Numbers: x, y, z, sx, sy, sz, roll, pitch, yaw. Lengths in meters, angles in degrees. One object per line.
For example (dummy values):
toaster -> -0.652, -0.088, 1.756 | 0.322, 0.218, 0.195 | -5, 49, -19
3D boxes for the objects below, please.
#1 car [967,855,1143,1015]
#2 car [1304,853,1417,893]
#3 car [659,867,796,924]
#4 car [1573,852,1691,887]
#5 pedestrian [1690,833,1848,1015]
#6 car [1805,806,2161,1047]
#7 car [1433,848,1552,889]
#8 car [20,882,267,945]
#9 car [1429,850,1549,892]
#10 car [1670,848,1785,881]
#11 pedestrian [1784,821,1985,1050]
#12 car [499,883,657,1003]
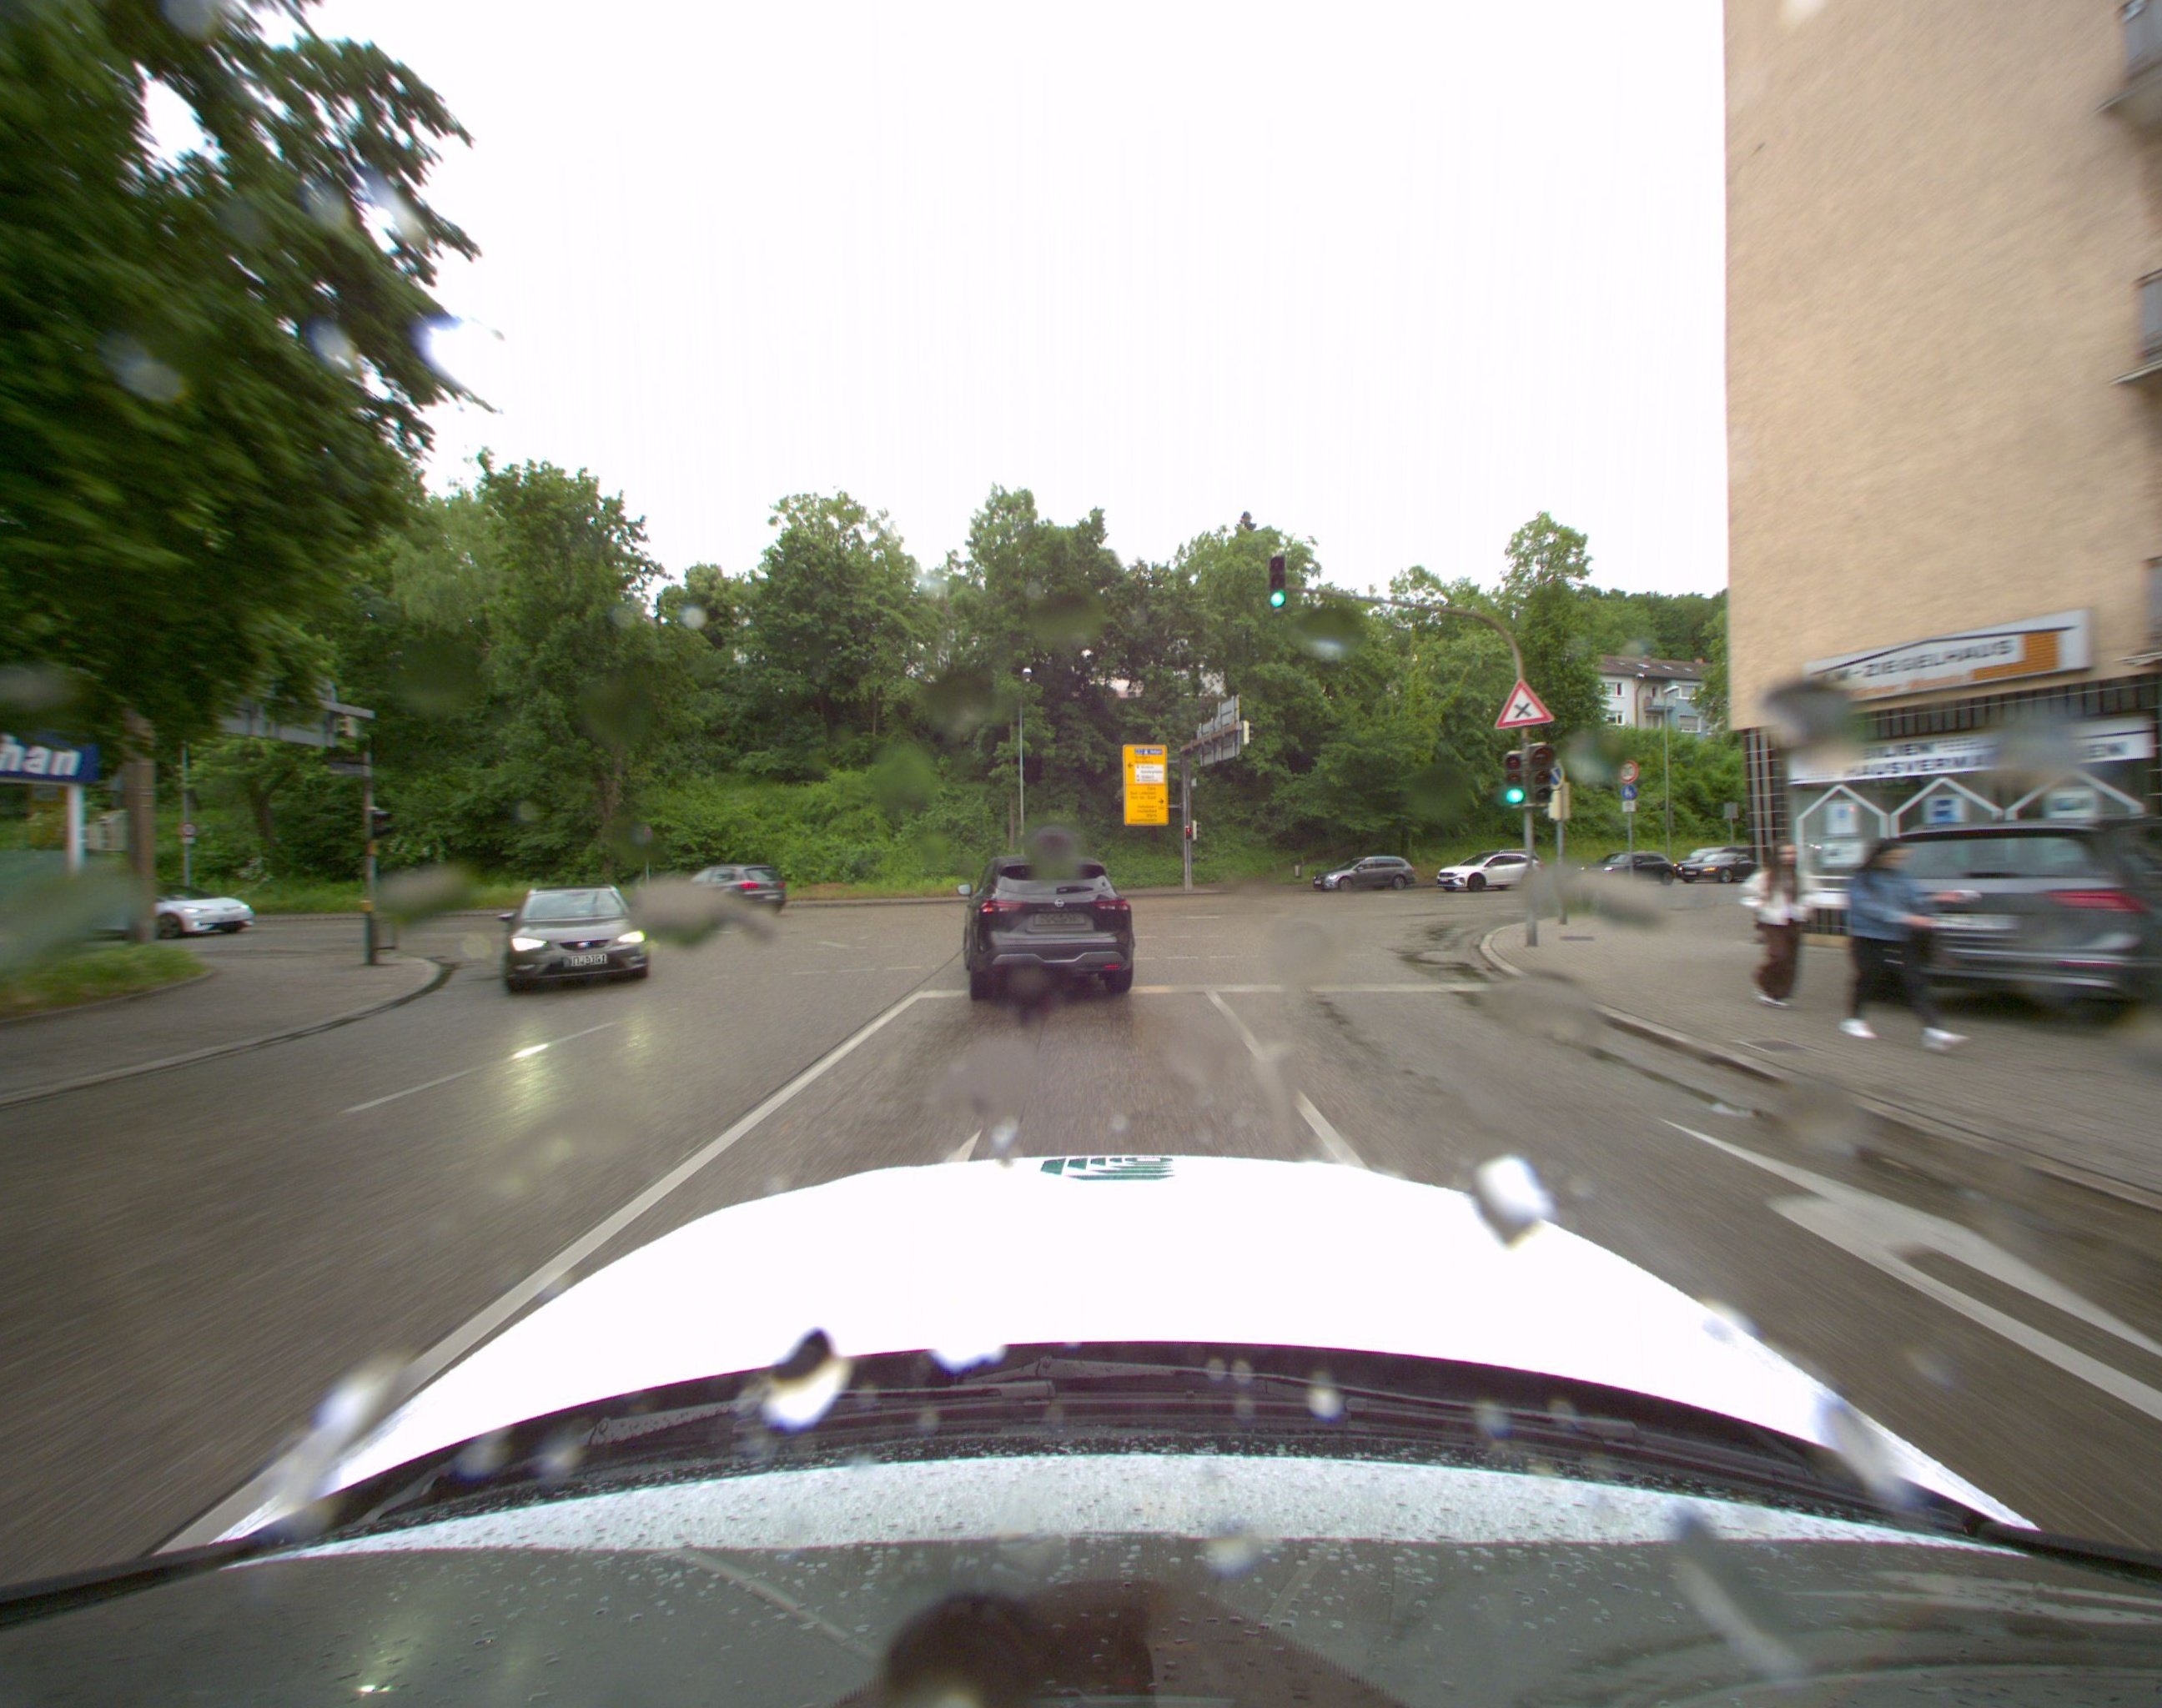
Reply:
car -> -0.534, 0.860, 10.402 | 1.810, 1.603, 3.988 | -1, -1, -8
car -> 12.214, 0.818, 35.711 | 4.326, 1.502, 1.876 | -2, 0, -11
car -> -11.254, 1.256, 25.922 | 3.950, 1.602, 1.828 | 0, 2, 26
car -> 23.303, 0.639, 34.491 | 4.147, 1.370, 1.801 | -1, -1, -14
pedestrian -> 6.345, 0.613, 7.556 | 0.757, 1.575, 0.782 | -3, 0, 5
car -> 8.911, 0.444, 7.400 | 4.388, 1.649, 1.868 | -2, -1, -25
car -> 18.609, 0.634, 36.902 | 4.613, 1.697, 1.820 | -2, -1, -11
car -> -26.700, 1.655, 23.333 | 4.603, 1.440, 1.935 | -2, 2, -2
car -> 16.462, 0.682, 32.894 | 4.147, 1.561, 1.801 | -1, -1, -14
car -> 28.534, 0.454, 35.982 | 4.147, 1.370, 1.801 | -1, -1, -14
pedestrian -> 6.089, 0.580, 6.220 | 0.655, 1.600, 0.795 | -3, 0, -2
car -> -8.000, 1.255, 12.977 | 1.823, 1.450, 4.163 | -2, 0, -33
